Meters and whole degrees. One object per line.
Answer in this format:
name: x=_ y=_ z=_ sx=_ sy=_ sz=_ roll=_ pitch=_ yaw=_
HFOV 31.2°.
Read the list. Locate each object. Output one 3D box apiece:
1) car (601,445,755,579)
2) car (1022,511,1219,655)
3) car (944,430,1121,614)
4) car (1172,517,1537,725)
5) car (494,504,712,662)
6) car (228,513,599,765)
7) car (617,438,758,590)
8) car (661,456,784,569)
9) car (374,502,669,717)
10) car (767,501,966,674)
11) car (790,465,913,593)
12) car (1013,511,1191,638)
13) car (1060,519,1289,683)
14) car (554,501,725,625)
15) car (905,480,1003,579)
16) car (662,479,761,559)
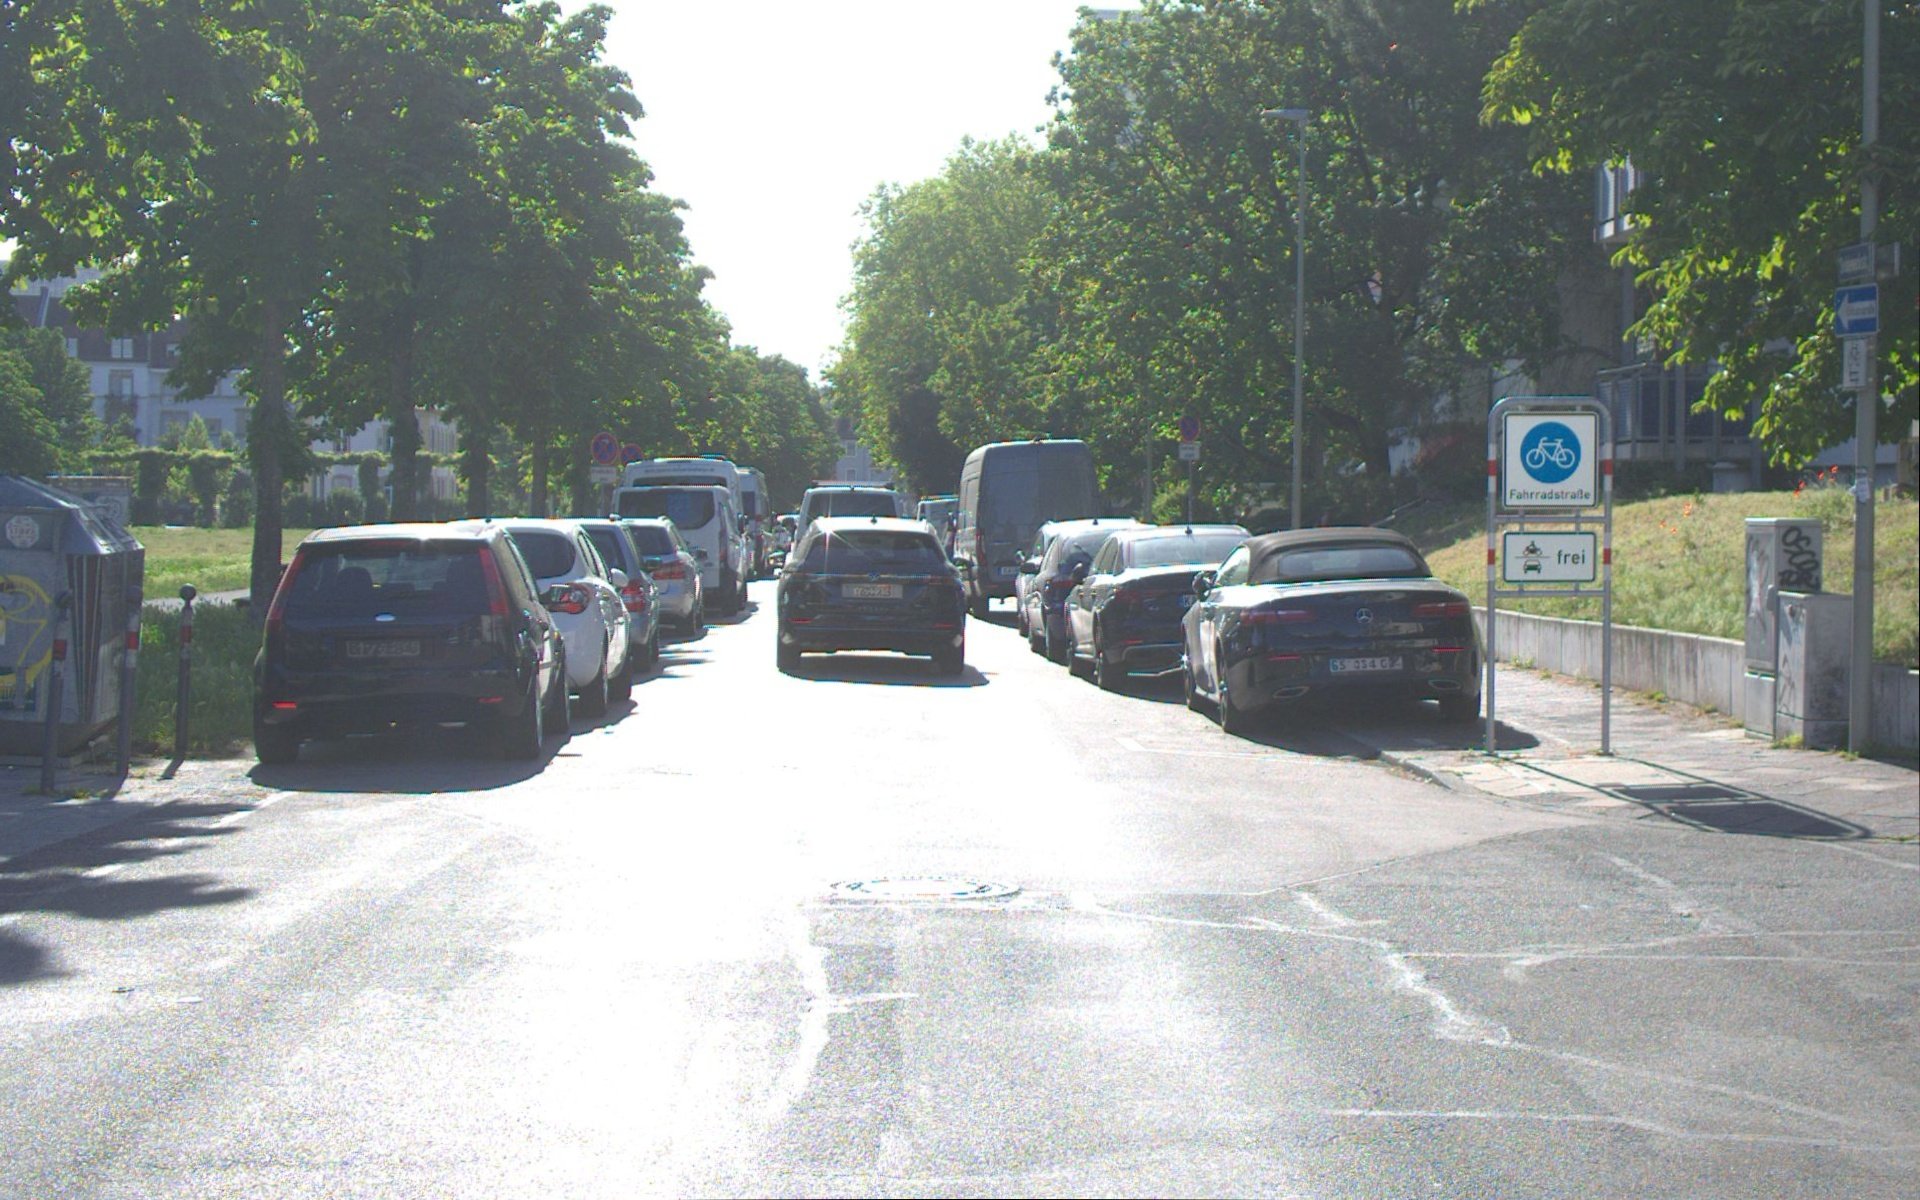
car: x=-4.268 y=-1.355 z=52.549 sx=2.098 sy=1.936 sz=4.127 roll=1 pitch=2 yaw=-2
car: x=1.720 y=-0.225 z=38.047 sx=1.779 sy=1.482 sz=4.032 roll=0 pitch=2 yaw=-3
car: x=1.056 y=-1.225 z=53.188 sx=2.162 sy=2.680 sz=5.418 roll=0 pitch=2 yaw=-5
car: x=2.835 y=0.088 z=25.742 sx=2.125 sy=1.333 sz=4.506 roll=-2 pitch=2 yaw=-1
car: x=-3.496 y=-0.220 z=34.317 sx=1.779 sy=1.456 sz=4.127 roll=1 pitch=2 yaw=-1
car: x=-3.370 y=0.193 z=21.872 sx=1.748 sy=1.420 sz=3.916 roll=-1 pitch=1 yaw=-1
car: x=-4.635 y=-1.488 z=58.953 sx=2.098 sy=2.487 sz=4.127 roll=1 pitch=2 yaw=-1
car: x=-5.775 y=-2.157 z=84.386 sx=2.616 sy=2.636 sz=6.115 roll=1 pitch=2 yaw=-1
car: x=-3.281 y=0.033 z=26.393 sx=1.777 sy=1.490 sz=3.875 roll=-1 pitch=1 yaw=-1
car: x=-0.875 y=-0.172 z=33.491 sx=1.779 sy=1.526 sz=4.000 roll=2 pitch=2 yaw=-1
car: x=-1.743 y=-1.181 z=56.278 sx=1.894 sy=1.984 sz=4.010 roll=-1 pitch=2 yaw=-1
car: x=1.725 y=-0.355 z=43.107 sx=1.988 sy=1.482 sz=4.127 roll=1 pitch=2 yaw=-1
car: x=1.909 y=-0.038 z=31.677 sx=1.779 sy=1.366 sz=4.127 roll=1 pitch=2 yaw=-1
car: x=-4.058 y=-0.513 z=44.103 sx=1.833 sy=1.494 sz=4.127 roll=1 pitch=2 yaw=-1
car: x=-0.181 y=-1.727 z=82.769 sx=2.162 sy=2.284 sz=5.266 roll=0 pitch=2 yaw=-2
car: x=-5.658 y=-1.862 z=78.730 sx=2.010 sy=1.779 sz=4.127 roll=0 pitch=2 yaw=-1
